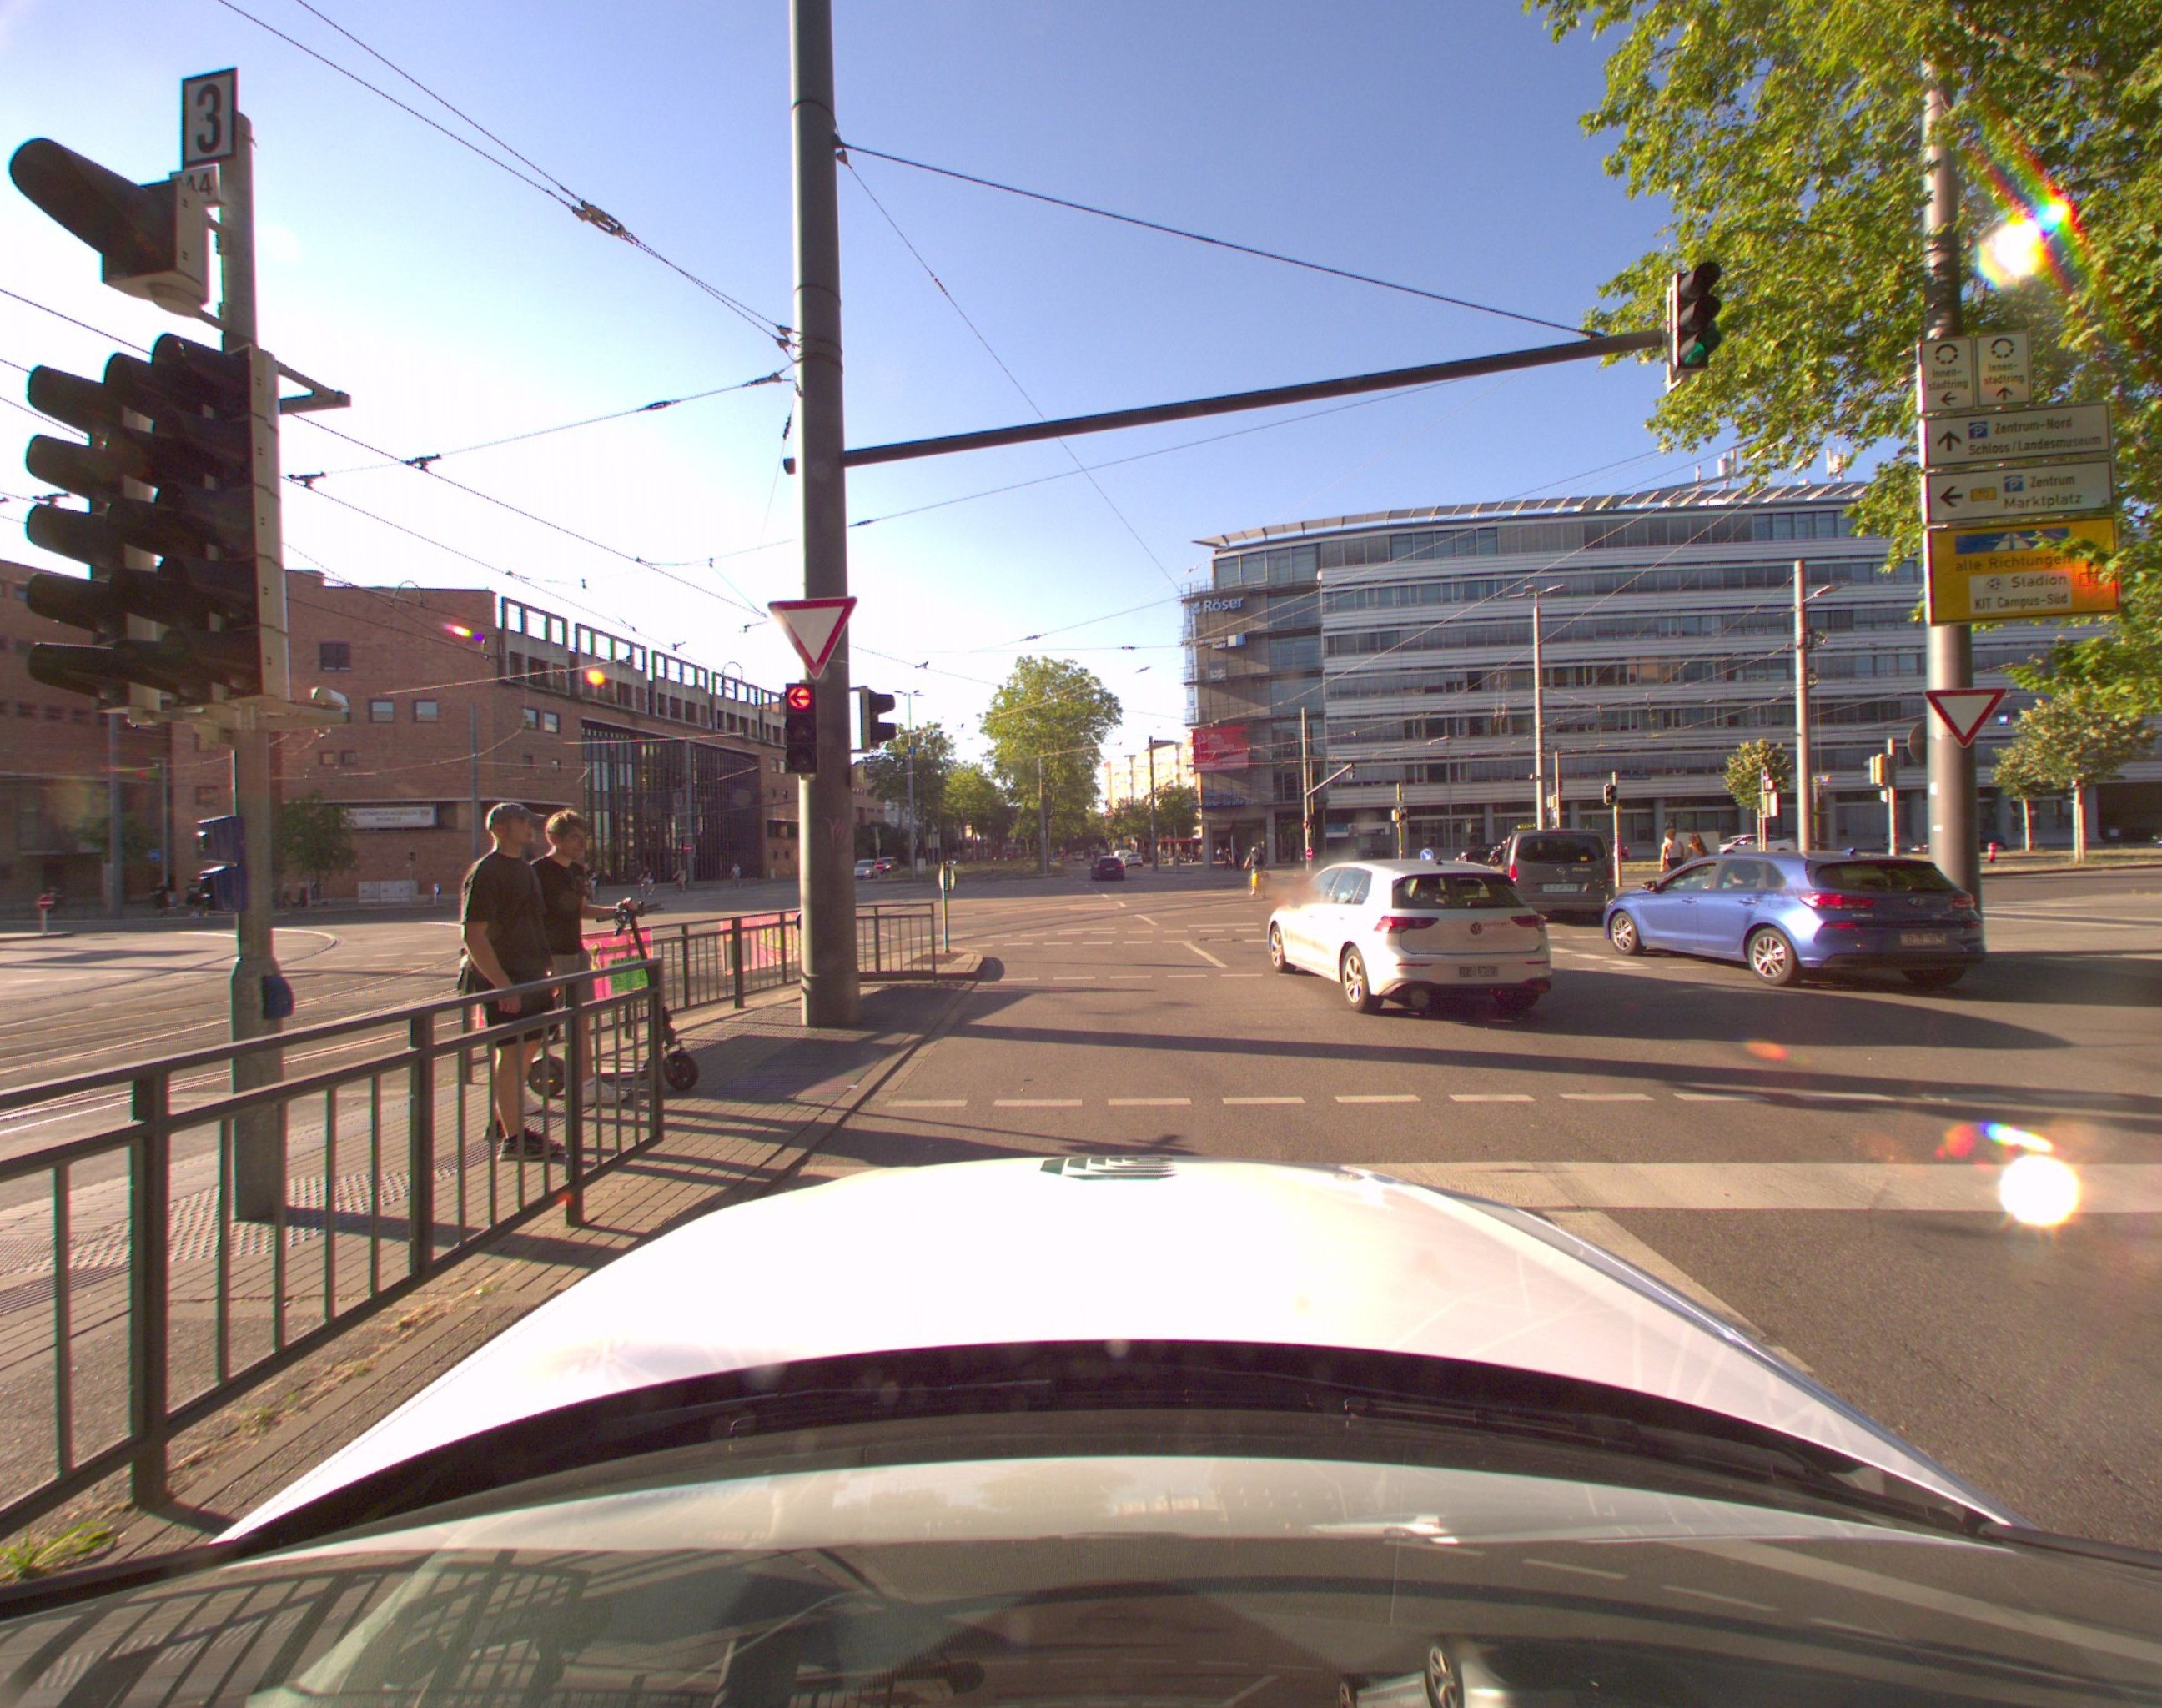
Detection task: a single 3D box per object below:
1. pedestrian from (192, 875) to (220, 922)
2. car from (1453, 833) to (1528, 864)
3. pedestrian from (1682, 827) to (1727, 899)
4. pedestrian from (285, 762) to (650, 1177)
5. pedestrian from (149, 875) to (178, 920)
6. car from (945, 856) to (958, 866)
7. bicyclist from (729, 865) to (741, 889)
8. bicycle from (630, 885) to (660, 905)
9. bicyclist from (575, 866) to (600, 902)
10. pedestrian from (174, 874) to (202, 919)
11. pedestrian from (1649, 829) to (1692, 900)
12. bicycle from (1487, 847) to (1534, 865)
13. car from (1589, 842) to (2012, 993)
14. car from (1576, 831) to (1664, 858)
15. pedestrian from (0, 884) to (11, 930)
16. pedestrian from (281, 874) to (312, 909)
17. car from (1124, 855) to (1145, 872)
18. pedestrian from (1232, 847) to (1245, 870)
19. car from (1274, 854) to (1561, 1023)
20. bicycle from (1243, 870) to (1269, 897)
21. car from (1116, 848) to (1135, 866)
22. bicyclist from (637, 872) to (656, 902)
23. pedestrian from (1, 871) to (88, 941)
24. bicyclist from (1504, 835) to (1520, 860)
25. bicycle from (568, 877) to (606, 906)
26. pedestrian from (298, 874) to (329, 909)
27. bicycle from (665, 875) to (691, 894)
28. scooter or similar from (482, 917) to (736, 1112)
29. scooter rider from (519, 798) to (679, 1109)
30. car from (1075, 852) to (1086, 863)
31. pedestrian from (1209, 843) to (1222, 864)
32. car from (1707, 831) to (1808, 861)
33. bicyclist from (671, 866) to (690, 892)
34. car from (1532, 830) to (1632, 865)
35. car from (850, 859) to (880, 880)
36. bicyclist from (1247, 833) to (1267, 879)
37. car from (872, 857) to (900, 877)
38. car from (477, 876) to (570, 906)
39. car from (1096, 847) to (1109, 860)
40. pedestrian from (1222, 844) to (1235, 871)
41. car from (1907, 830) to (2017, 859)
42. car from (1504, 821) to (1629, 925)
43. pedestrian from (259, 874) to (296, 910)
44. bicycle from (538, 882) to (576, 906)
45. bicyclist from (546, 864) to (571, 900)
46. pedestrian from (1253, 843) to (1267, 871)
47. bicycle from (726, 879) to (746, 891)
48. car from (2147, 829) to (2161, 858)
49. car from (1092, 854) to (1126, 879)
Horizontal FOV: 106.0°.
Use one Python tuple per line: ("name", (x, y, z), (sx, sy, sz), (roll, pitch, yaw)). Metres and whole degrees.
("pedestrian", (-39.143, 1.982, 36.430), (0.615, 2.013, 0.726), (-2, 0, -29))
("car", (27.139, -0.352, 54.107), (3.972, 2.014, 2.001), (0, -1, 2))
("pedestrian", (15.622, 0.233, 20.427), (0.677, 1.759, 0.746), (-2, 0, 22))
("pedestrian", (-3.066, 0.544, 4.175), (1.161, 1.884, 0.856), (-2, 0, 6))
("pedestrian", (-41.834, 1.968, 37.127), (0.615, 2.013, 0.726), (-2, 0, -28))
("car", (-20.238, 1.120, 127.655), (1.673, 1.607, 3.994), (0, -1, -4))
("bicyclist", (-23.830, 1.596, 56.133), (0.585, 1.625, 0.514), (-2, 0, -3))
("bicycle", (-23.702, 2.226, 44.327), (0.692, 0.998, 1.898), (-2, 0, -5))
("bicyclist", (-22.509, 1.359, 37.136), (0.682, 1.560, 0.756), (-2, 2, -11))
("pedestrian", (-41.111, 1.966, 37.512), (0.615, 2.013, 0.726), (-2, 0, -28))
("pedestrian", (14.956, 0.267, 20.687), (0.671, 1.759, 0.746), (-2, 0, 22))
("bicycle", (25.891, 0.121, 49.081), (2.397, 1.022, 0.638), (-2, 0, 6))
("car", (8.374, 0.625, 10.111), (1.740, 1.459, 4.217), (-1, 0, 4))
("car", (32.055, -0.526, 48.505), (3.966, 1.552, 1.800), (0, -1, 6))
("pedestrian", (-47.209, 2.300, 35.225), (0.782, 1.983, 0.751), (-2, 0, -1))
("pedestrian", (-47.633, 2.259, 49.465), (1.003, 2.052, 0.850), (-2, 0, -1))
("car", (5.397, 0.948, 82.811), (2.022, 1.596, 4.001), (0, -1, 2))
("pedestrian", (11.796, 0.332, 61.045), (0.866, 1.707, 0.794), (0, -1, 1))
("car", (3.363, 0.731, 9.018), (1.740, 1.418, 4.004), (-1, 0, 4))
("bicycle", (5.636, 0.942, 26.243), (0.489, 0.788, 1.862), (-1, 0, 2))
("car", (4.936, 0.338, 89.759), (1.986, 2.014, 4.001), (0, -1, 2))
("bicyclist", (-23.732, 1.783, 44.487), (0.660, 1.569, 0.757), (-2, 0, -6))
("pedestrian", (-30.963, 1.532, 24.353), (1.029, 2.014, 1.208), (0, -1, 1))
("bicyclist", (25.971, -0.387, 49.071), (0.660, 1.503, 0.614), (-2, 0, 7))
("bicycle", (-22.502, 1.693, 37.152), (0.685, 1.142, 2.104), (-2, 2, -9))
("pedestrian", (-46.696, 2.262, 49.580), (1.003, 2.052, 0.850), (-2, 0, -1))
("bicycle", (-23.888, 1.810, 48.297), (0.650, 1.050, 2.010), (-1, 0, -3))
("scooter or similar", (-2.954, 0.987, 5.168), (1.196, 1.081, 0.649), (-2, 0, 5))
("scooter rider", (-3.080, 0.606, 5.248), (0.563, 1.853, 0.681), (-2, -2, 6))
("car", (-0.074, 0.816, 170.559), (1.985, 2.014, 4.001), (0, -4, 3))
("pedestrian", (14.172, -0.042, 86.061), (1.305, 2.190, 1.173), (0, -1, 8))
("car", (37.586, -0.440, 45.355), (3.968, 1.596, 1.884), (0, -1, 5))
("bicyclist", (-23.898, 1.486, 48.600), (0.652, 1.474, 1.031), (-1, -1, -3))
("car", (27.388, -0.361, 44.638), (4.234, 1.723, 1.886), (-2, 0, 4))
("car", (-17.979, 1.259, 67.886), (1.618, 1.577, 3.994), (-2, 0, -4))
("bicyclist", (5.615, 0.069, 25.989), (0.485, 1.439, 0.616), (1, 0, 1))
("car", (-18.030, 1.193, 75.487), (1.819, 1.790, 3.994), (-2, 0, -4))
("car", (-29.637, 1.936, 43.400), (1.565, 1.376, 3.739), (-2, 0, 32))
("car", (3.348, -0.087, 127.064), (1.986, 2.014, 4.001), (0, -1, 2))
("pedestrian", (10.997, 0.277, 60.809), (0.846, 2.014, 0.708), (0, -1, 1))
("car", (50.528, -0.523, 46.786), (4.097, 1.596, 1.884), (0, -1, 5))
("car", (10.280, 0.322, 17.362), (1.982, 1.896, 4.913), (-1, 0, 30))
("pedestrian", (-47.330, 2.218, 47.986), (1.155, 2.013, 0.910), (-2, 0, -2))
("bicycle", (-23.467, 1.781, 36.539), (0.652, 0.998, 1.896), (-2, 0, -8))
("bicyclist", (-23.488, 1.258, 36.619), (0.660, 1.574, 0.757), (-2, 0, -7))
("pedestrian", (13.165, 0.245, 59.827), (0.866, 2.014, 0.794), (0, -1, 1))
("bicycle", (-23.812, 2.141, 56.170), (0.588, 0.771, 1.966), (-2, 0, -2))
("car", (62.101, -0.622, 44.837), (4.097, 1.596, 1.884), (0, -1, 5))
("car", (1.635, 0.742, 48.733), (1.759, 1.404, 4.293), (-1, 0, -2))
